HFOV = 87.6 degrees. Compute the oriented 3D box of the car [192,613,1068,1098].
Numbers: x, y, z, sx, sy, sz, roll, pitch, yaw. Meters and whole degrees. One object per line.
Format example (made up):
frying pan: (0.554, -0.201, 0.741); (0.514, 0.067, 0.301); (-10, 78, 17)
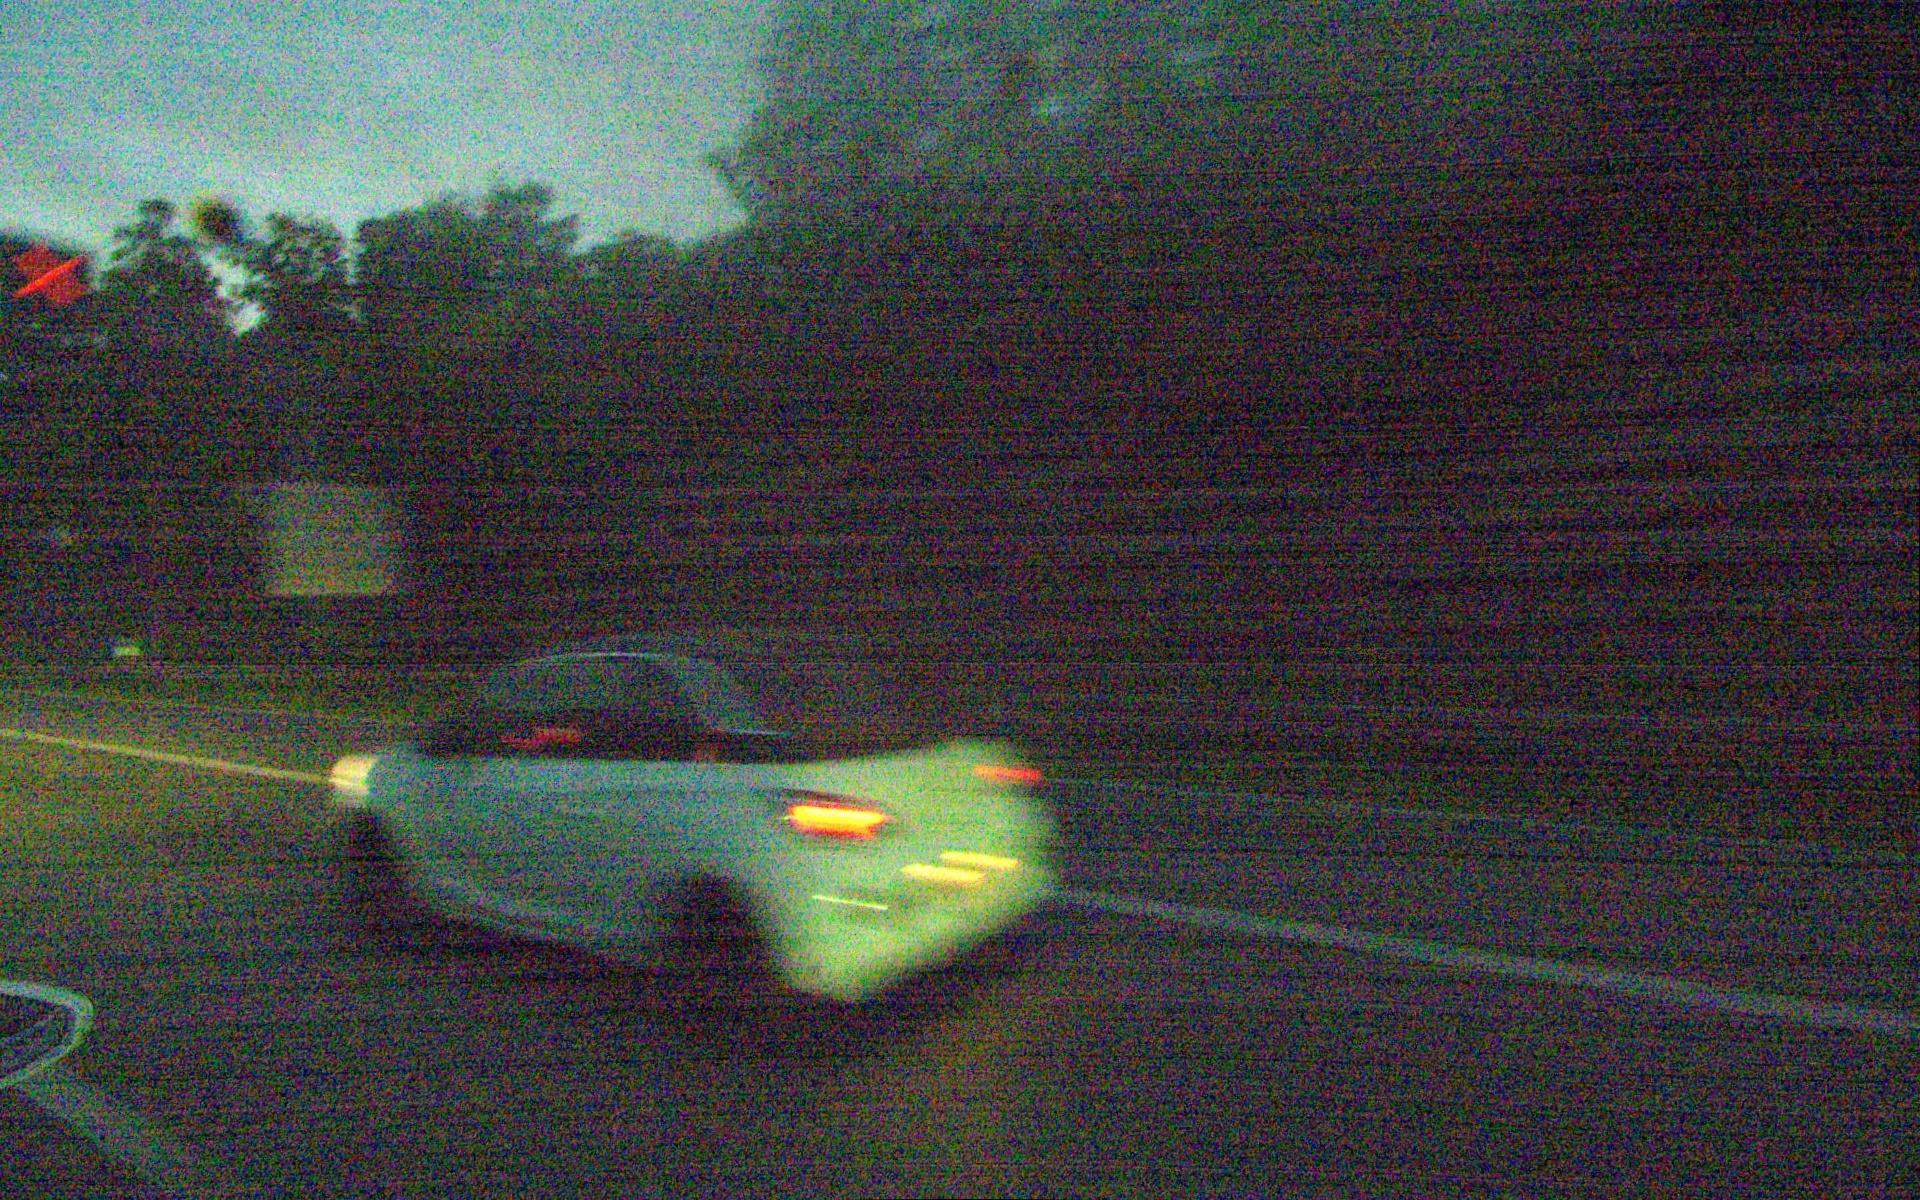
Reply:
car: (-1.809, 0.846, 5.092); (4.332, 1.495, 1.823); (0, 0, 30)
